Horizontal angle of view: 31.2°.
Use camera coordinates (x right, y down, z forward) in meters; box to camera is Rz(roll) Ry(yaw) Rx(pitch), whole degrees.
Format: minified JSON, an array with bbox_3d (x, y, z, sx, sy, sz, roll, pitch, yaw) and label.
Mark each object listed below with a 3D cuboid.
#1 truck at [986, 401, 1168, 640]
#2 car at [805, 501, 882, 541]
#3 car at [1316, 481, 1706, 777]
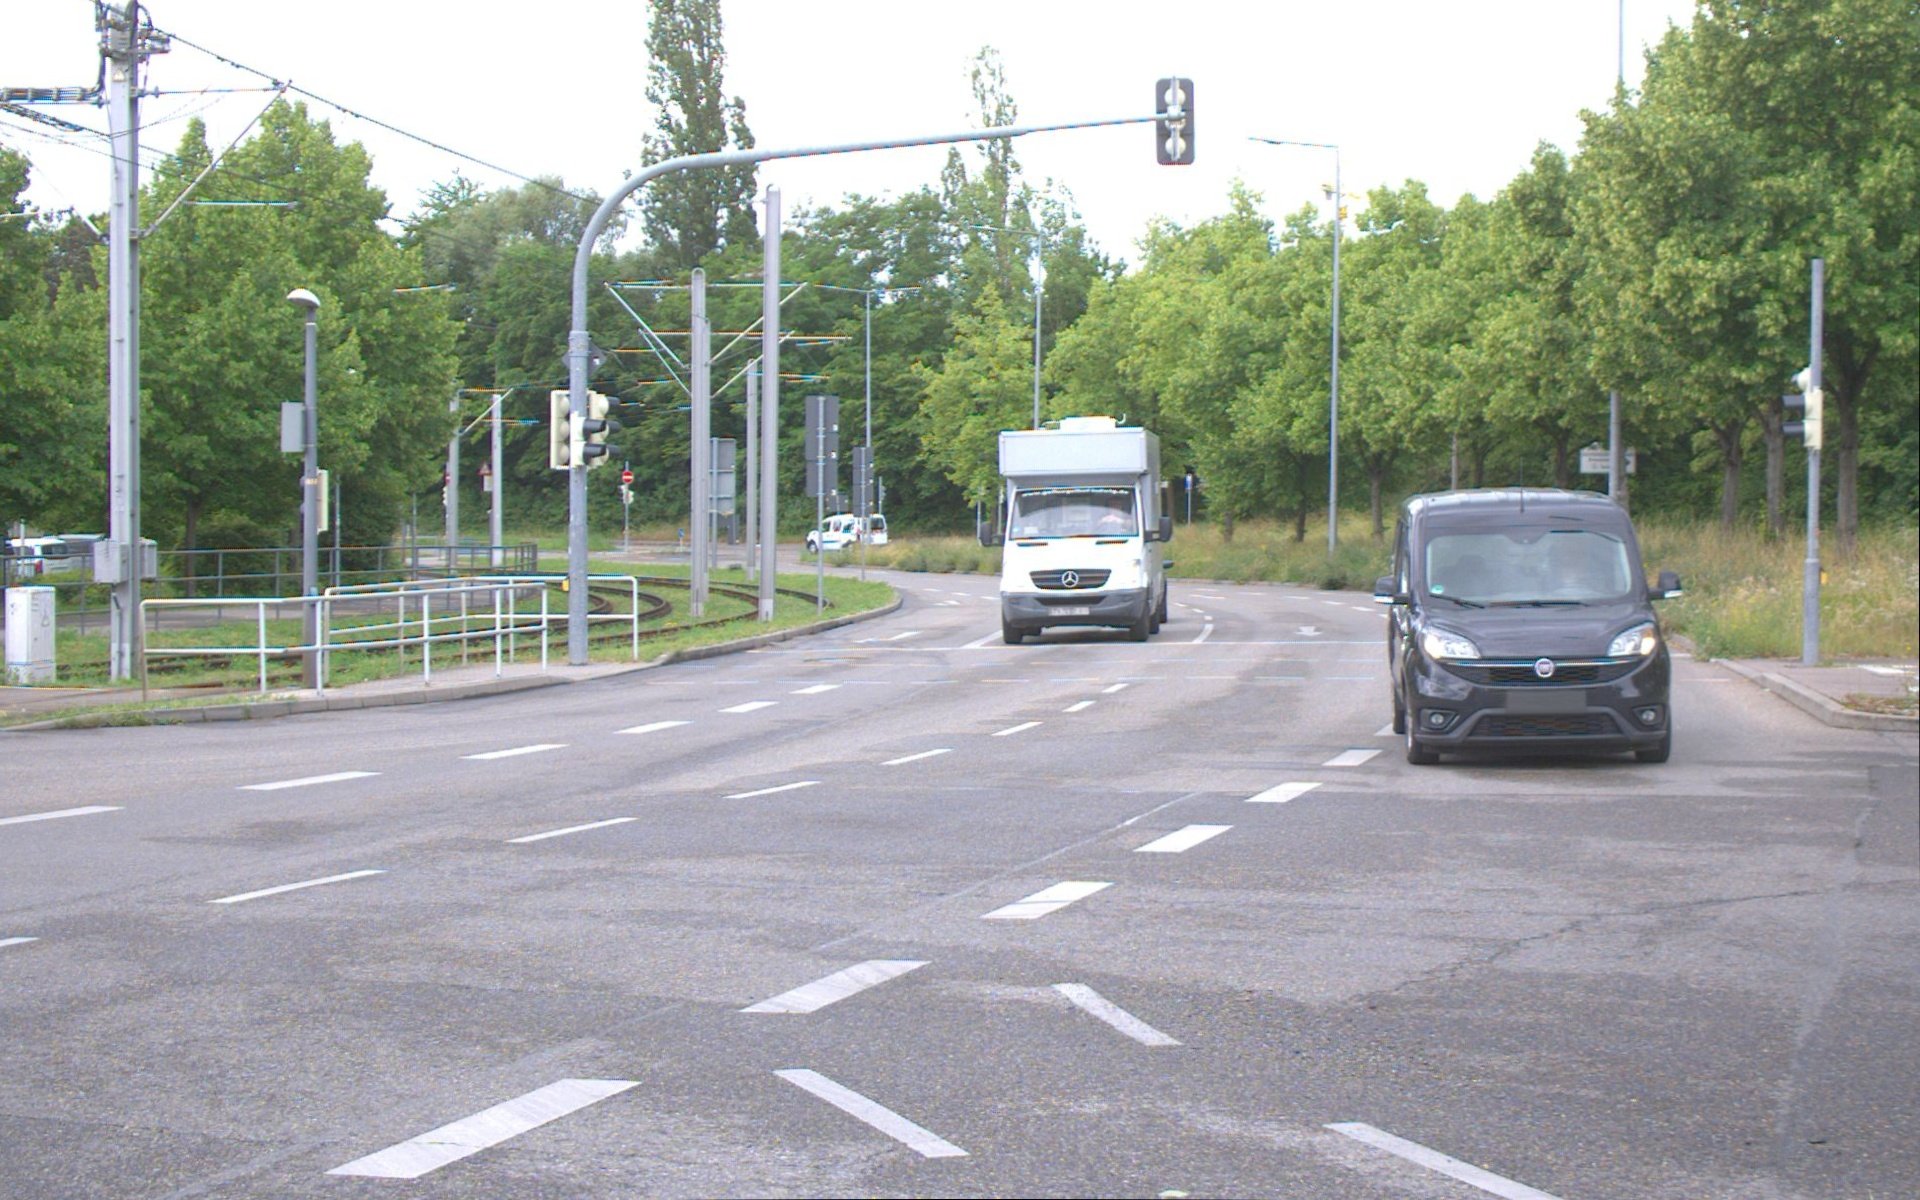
[{"bbox_3d":[1.720,-1.102,48.300,2.105,3.000,6.273,-4,1,5],"label":"truck"},{"bbox_3d":[-5.210,-3.527,153.340,1.993,1.722,3.728,-1,2,-28],"label":"car"},{"bbox_3d":[3.773,0.132,24.402,1.993,1.870,4.891,0,1,0],"label":"car"}]
